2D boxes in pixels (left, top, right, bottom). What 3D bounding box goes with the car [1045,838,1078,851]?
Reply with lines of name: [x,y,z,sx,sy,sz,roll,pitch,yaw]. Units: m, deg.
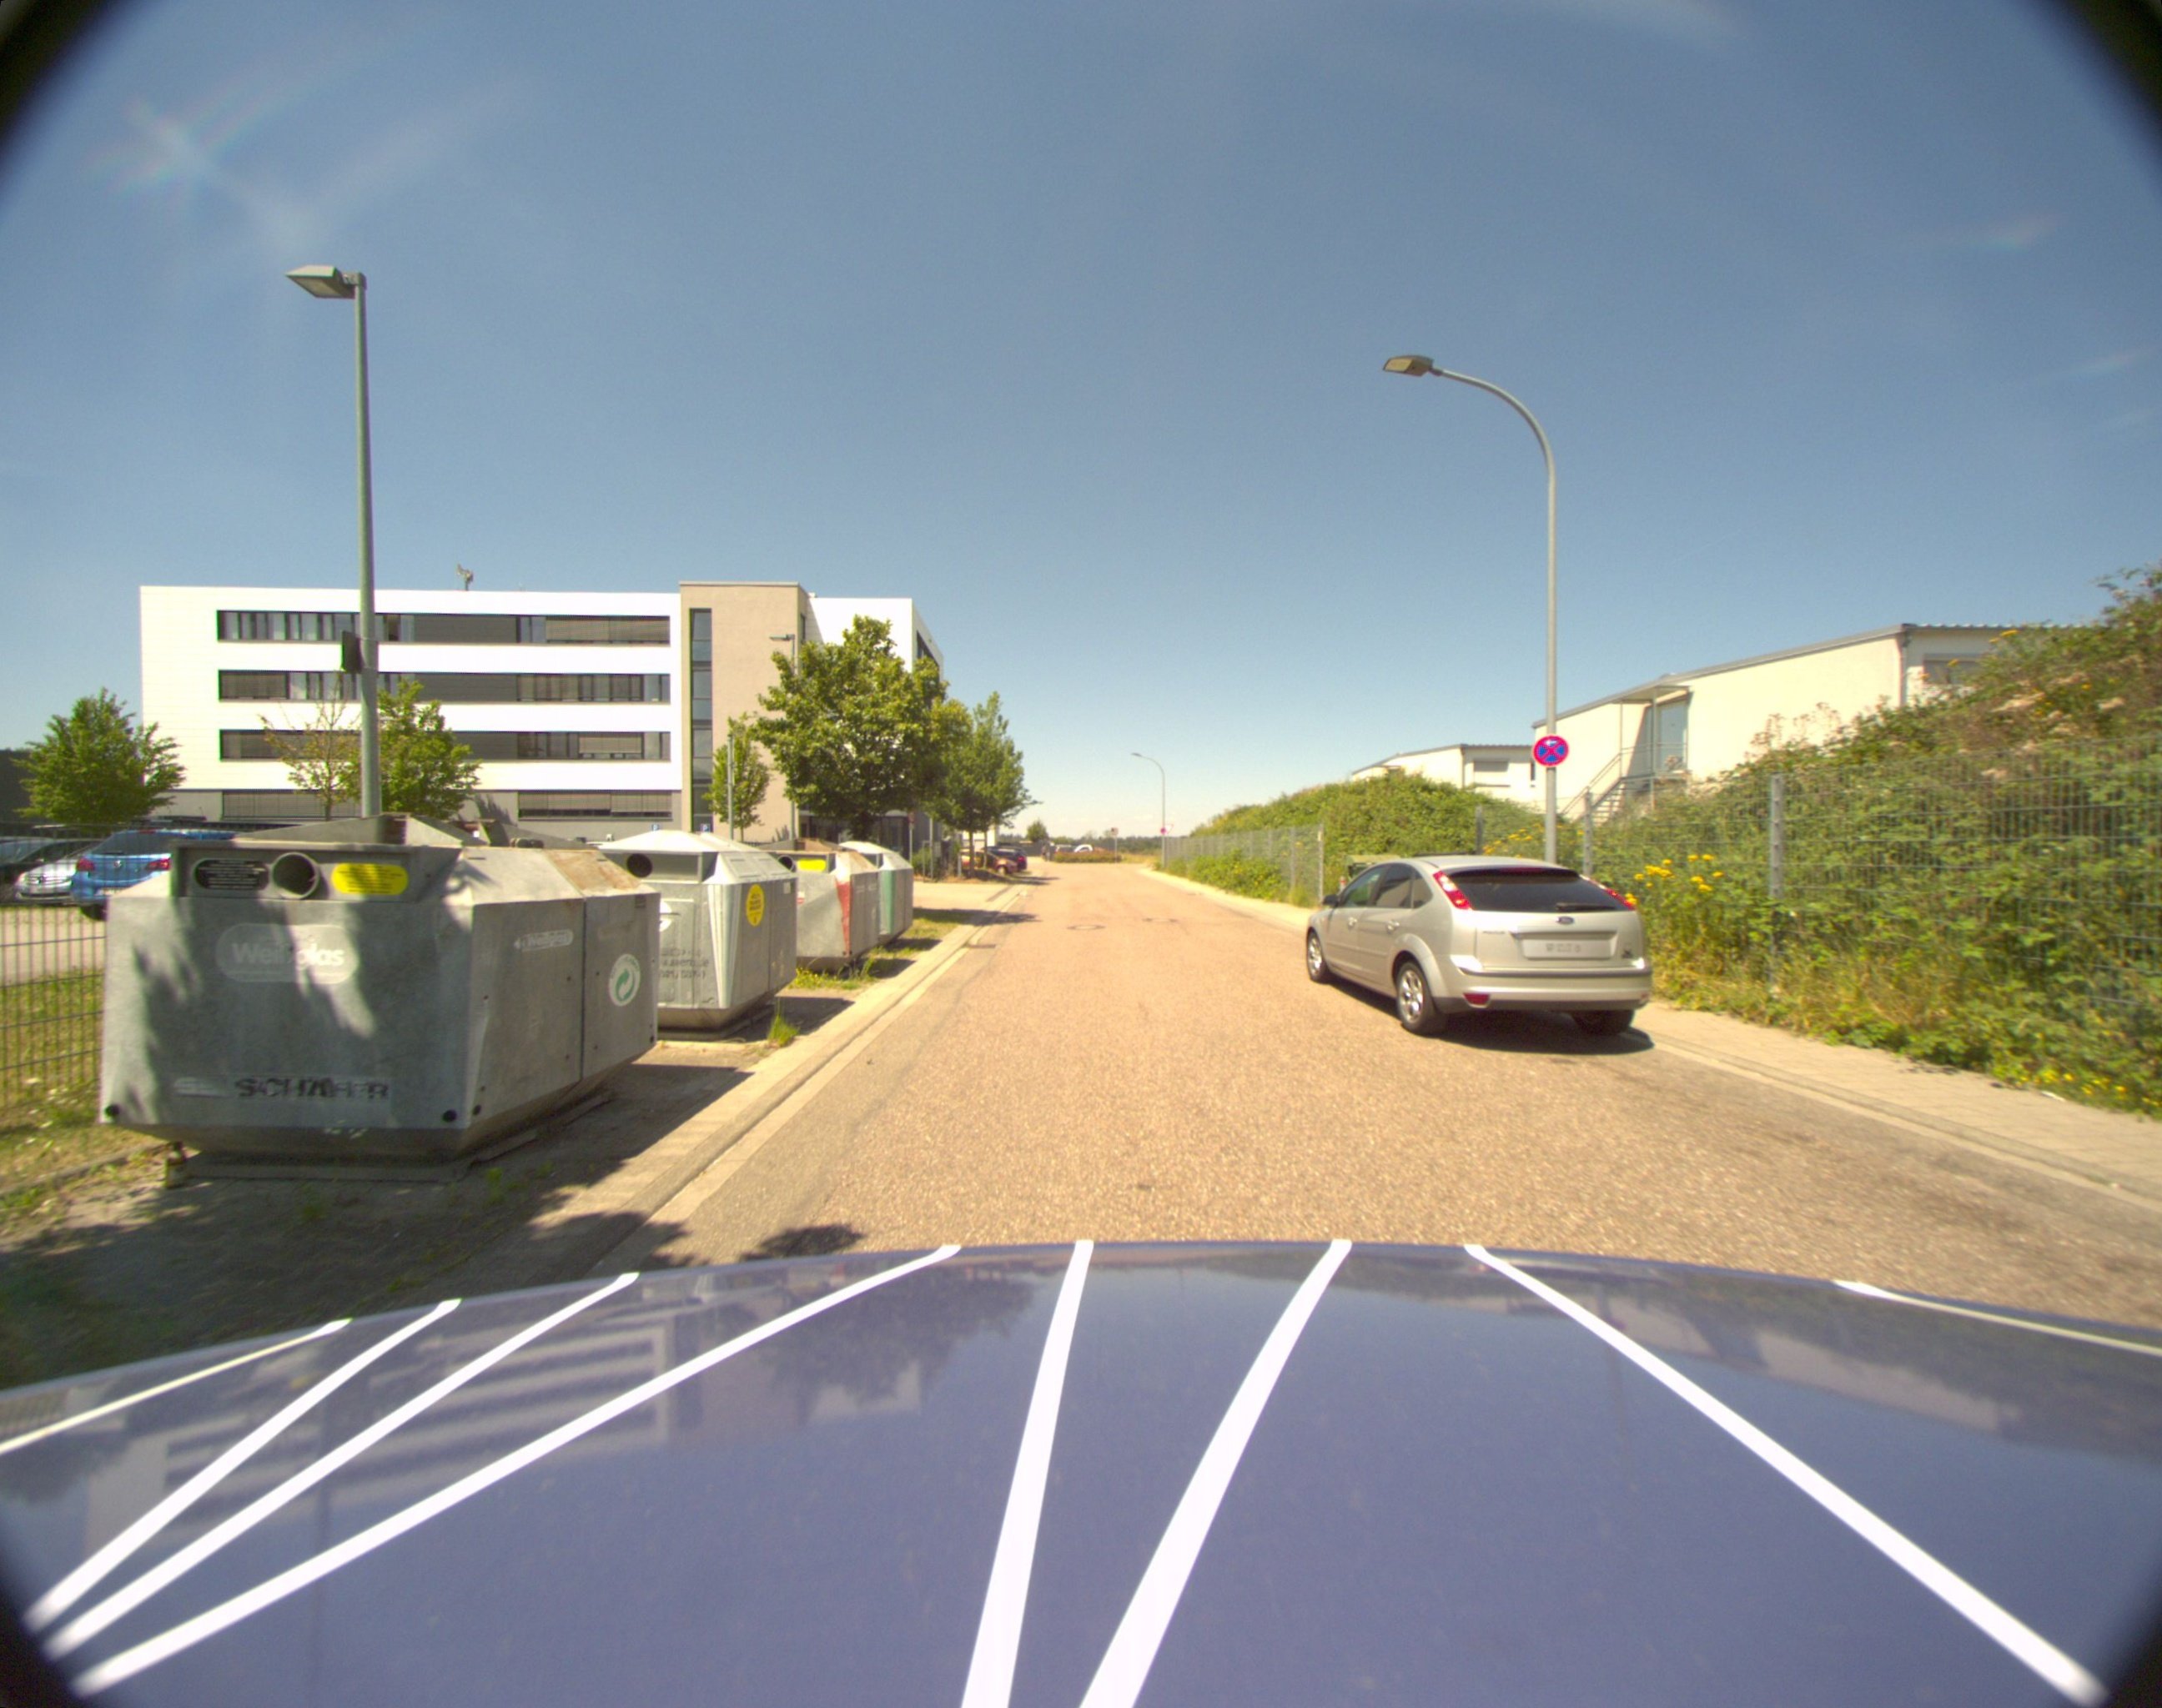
car: [-2.478,-1.183,94.496,3.999,1.596,1.676,0,1,-5]

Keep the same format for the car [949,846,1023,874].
car: [-5.309,0.338,42.945,3.998,1.486,1.724,1,1,-3]

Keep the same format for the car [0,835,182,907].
car: [-24.911,0.355,18.009,1.917,1.525,4.513,0,2,-3]

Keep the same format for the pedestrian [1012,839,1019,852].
pedestrian: [-8.159,-1.024,94.185,0.775,1.620,0.620,0,2,-16]

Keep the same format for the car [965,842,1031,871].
car: [-5.279,0.159,48.567,3.996,1.755,1.724,1,1,2]

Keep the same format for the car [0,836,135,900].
car: [-27.488,0.344,19.068,1.917,1.525,4.513,0,2,-3]

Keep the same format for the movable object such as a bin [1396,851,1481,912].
movable object such as a bin: [9.483,0.702,20.266,1.353,1.456,1.766,-4,1,0]

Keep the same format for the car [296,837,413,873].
car: [-34.186,0.013,35.911,1.619,1.543,4.112,1,2,-1]

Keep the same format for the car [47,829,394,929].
car: [-14.660,0.415,13.362,1.650,1.483,4.023,0,-1,-3]

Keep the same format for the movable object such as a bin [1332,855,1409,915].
movable object such as a bin: [7.580,0.771,19.993,1.307,1.468,1.838,0,1,0]

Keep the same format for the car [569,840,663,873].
car: [-22.142,0.070,36.385,1.809,1.452,4.222,1,2,1]

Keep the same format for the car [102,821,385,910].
car: [-19.865,0.153,18.416,1.917,1.889,4.513,0,2,-3]

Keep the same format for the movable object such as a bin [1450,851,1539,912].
movable object such as a bin: [10.998,0.706,20.322,1.353,1.456,1.766,-4,1,0]

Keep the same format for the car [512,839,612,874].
car: [-24.829,0.060,36.540,1.809,1.521,4.222,1,2,1]

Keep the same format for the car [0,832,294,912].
car: [-22.180,0.312,18.259,1.917,1.614,4.513,0,2,-3]

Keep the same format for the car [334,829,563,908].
car: [-15.098,0.225,18.579,1.844,1.644,4.647,0,2,-3]

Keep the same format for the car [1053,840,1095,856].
car: [-0.727,-0.543,73.749,3.999,1.532,1.830,0,1,-5]

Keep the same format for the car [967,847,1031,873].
car: [-4.922,0.331,45.787,3.722,1.486,1.781,1,1,-3]

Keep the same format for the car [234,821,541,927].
car: [-12.109,0.347,13.746,1.794,1.613,4.241,0,-1,-3]

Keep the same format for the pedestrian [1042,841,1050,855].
pedestrian: [-4.171,-0.696,91.225,0.830,1.673,0.711,0,2,-10]

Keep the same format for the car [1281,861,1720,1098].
car: [3.475,0.895,7.434,1.838,1.537,4.366,0,1,0]

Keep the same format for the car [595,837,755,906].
car: [-9.925,0.340,19.022,1.794,1.447,4.406,0,2,-3]
